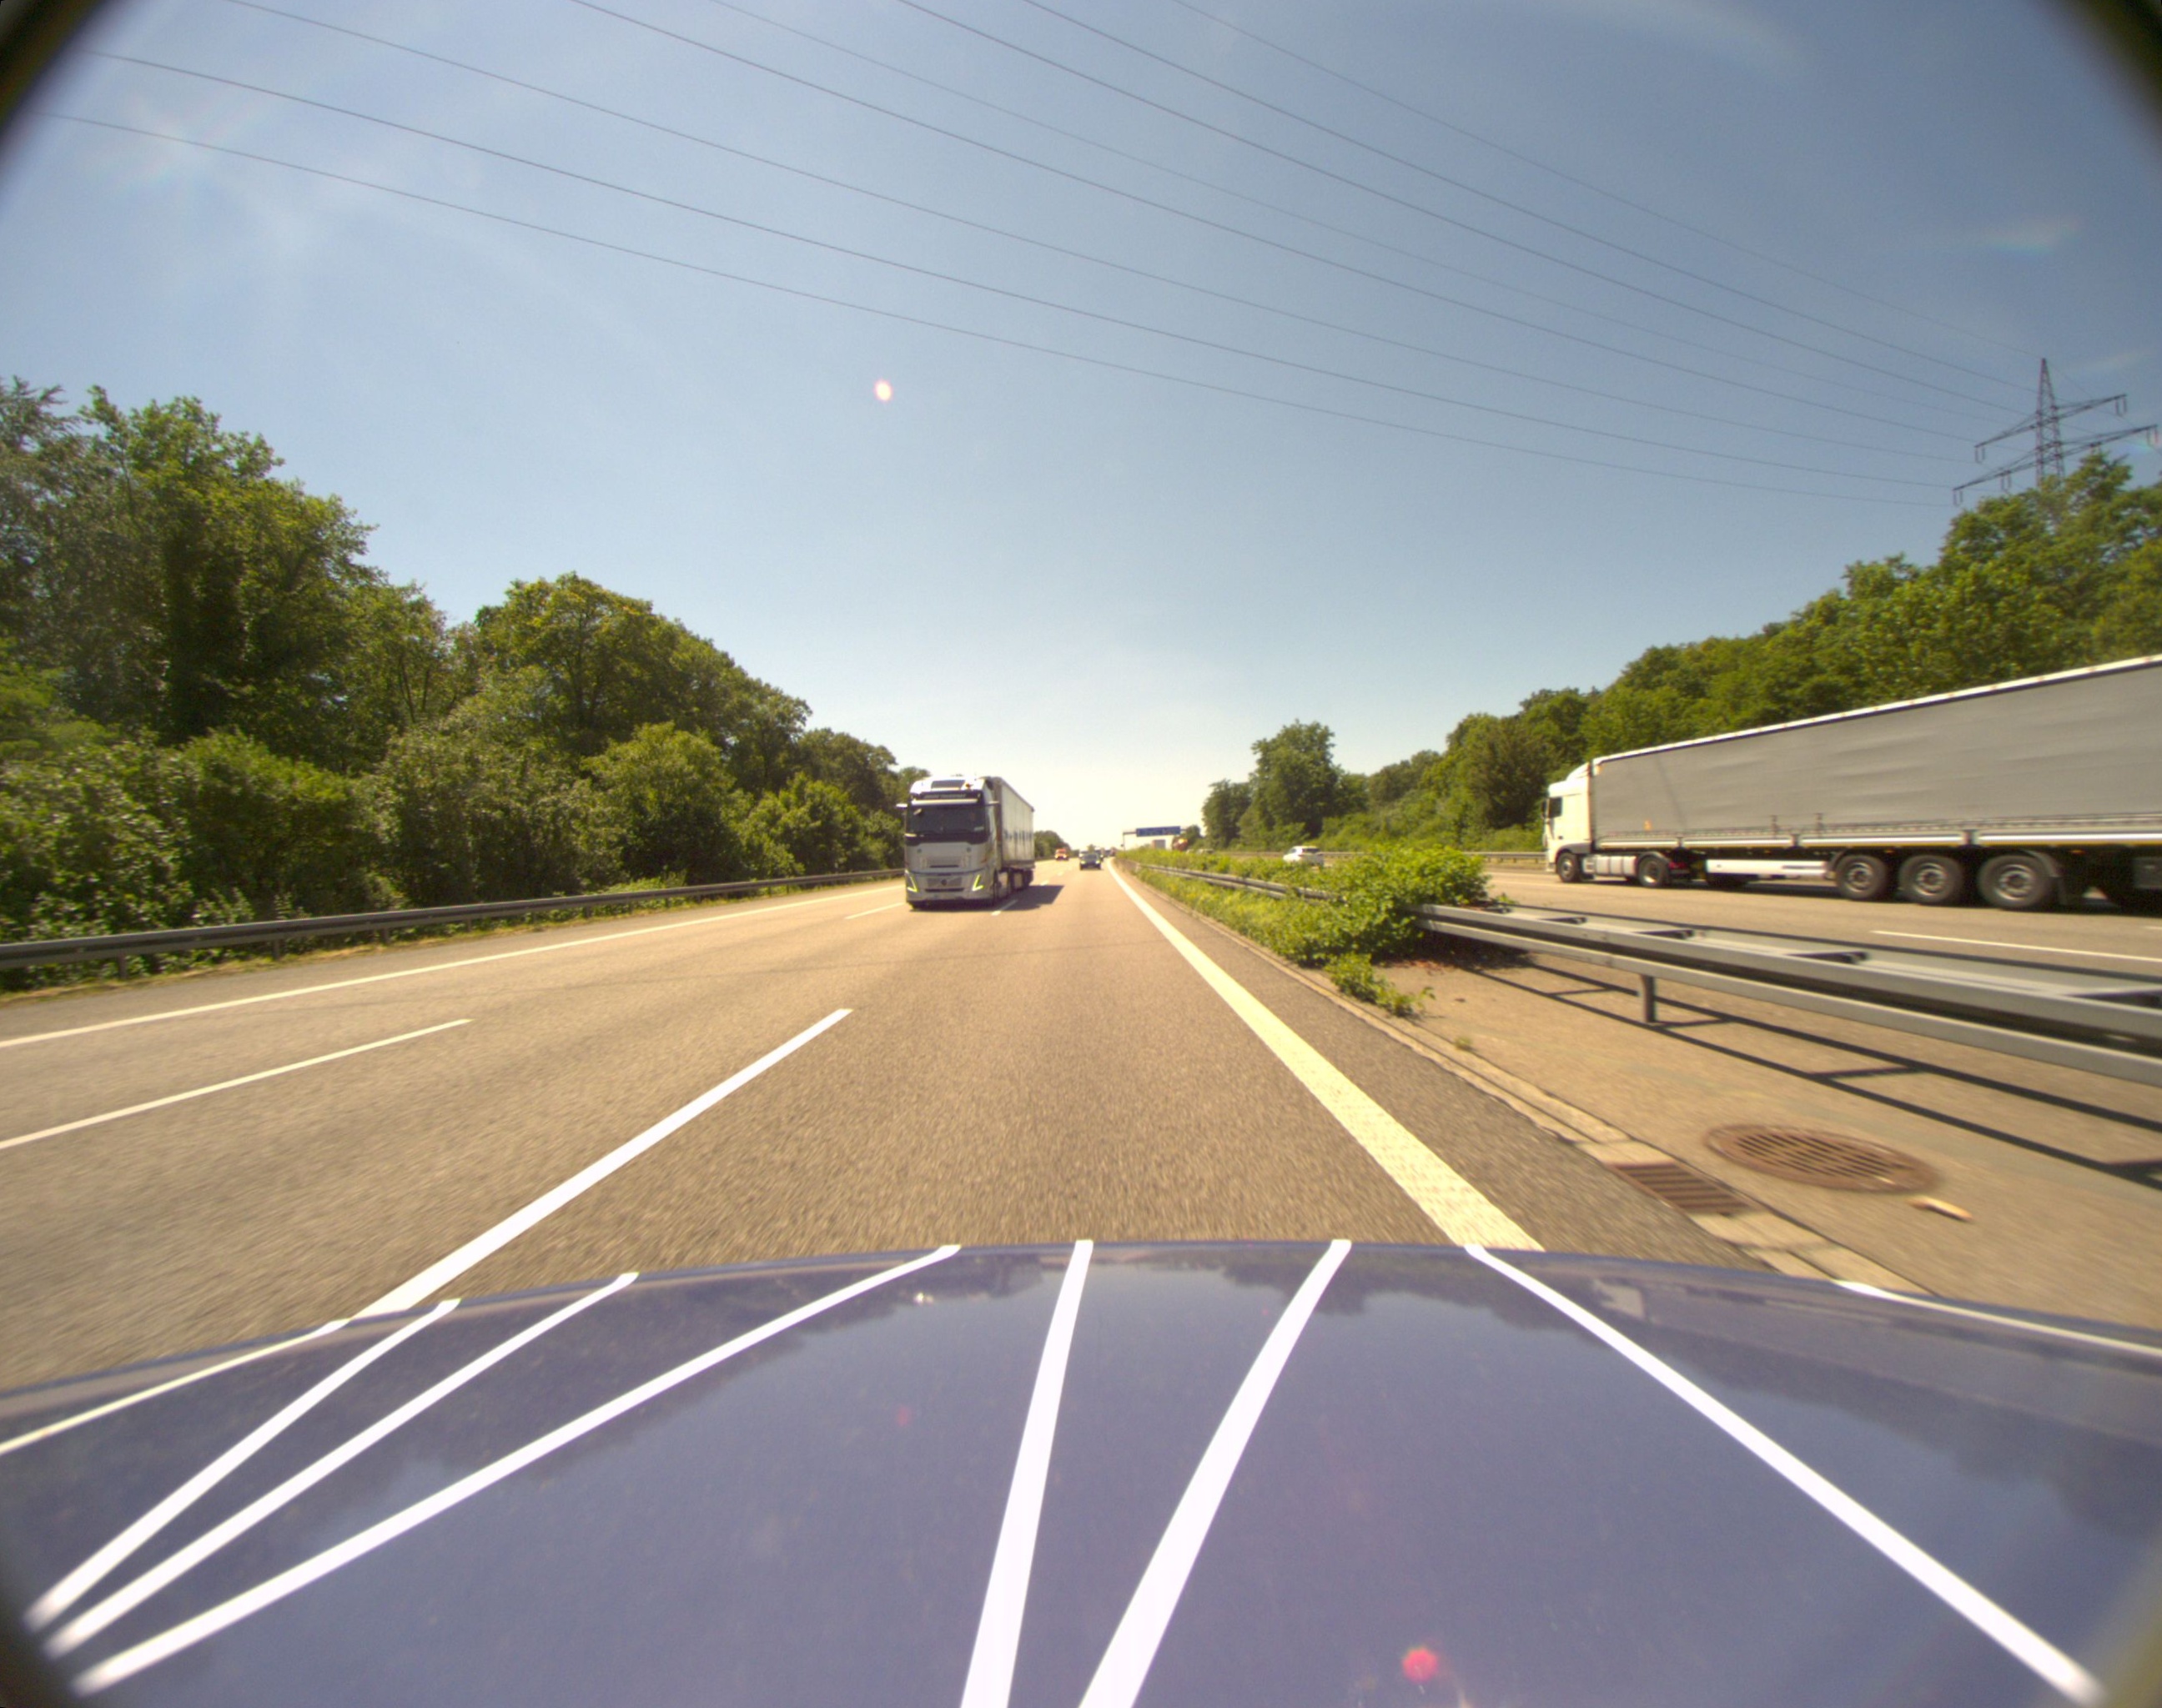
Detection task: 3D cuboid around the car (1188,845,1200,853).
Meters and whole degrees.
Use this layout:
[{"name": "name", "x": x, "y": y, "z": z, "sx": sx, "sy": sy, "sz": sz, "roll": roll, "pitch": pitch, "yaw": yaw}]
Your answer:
[{"name": "car", "x": 22.169, "y": -0.977, "z": 148.936, "sx": 1.725, "sy": 1.471, "sz": 4.000, "roll": -2, "pitch": 1, "yaw": 1}]

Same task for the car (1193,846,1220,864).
[{"name": "car", "x": 10.340, "y": 0.067, "z": 62.886, "sx": 1.669, "sy": 1.445, "sz": 4.124, "roll": -2, "pitch": 0, "yaw": 2}]

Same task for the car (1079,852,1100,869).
[{"name": "car", "x": 0.776, "y": 0.586, "z": 69.112, "sx": 1.800, "sy": 1.390, "sz": 4.833, "roll": -2, "pitch": 0, "yaw": 0}]

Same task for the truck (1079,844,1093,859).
[{"name": "truck", "x": 1.173, "y": -0.617, "z": 174.919, "sx": 2.859, "sy": 3.163, "sz": 10.712, "roll": -2, "pitch": 0, "yaw": 2}]

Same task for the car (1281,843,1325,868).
[{"name": "car", "x": 14.047, "y": 0.088, "z": 48.302, "sx": 1.669, "sy": 1.445, "sz": 4.124, "roll": -2, "pitch": 0, "yaw": 2}]

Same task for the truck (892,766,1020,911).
[{"name": "truck", "x": -3.742, "y": -0.455, "z": 24.347, "sx": 2.729, "sy": 3.952, "sz": 6.501, "roll": -2, "pitch": 1, "yaw": 1}]

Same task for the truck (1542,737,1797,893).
[{"name": "truck", "x": 17.309, "y": -1.031, "z": 23.050, "sx": 2.667, "sy": 3.962, "sz": 6.553, "roll": -2, "pitch": 1, "yaw": 1}]

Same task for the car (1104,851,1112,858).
[{"name": "car", "x": 7.112, "y": 0.078, "z": 200.805, "sx": 1.879, "sy": 1.630, "sz": 4.000, "roll": -2, "pitch": 0, "yaw": 1}]

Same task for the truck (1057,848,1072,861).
[{"name": "truck", "x": -3.326, "y": -0.009, "z": 155.398, "sx": 2.436, "sy": 2.426, "sz": 10.010, "roll": -2, "pitch": 0, "yaw": 2}]

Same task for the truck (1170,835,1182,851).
[{"name": "truck", "x": 21.902, "y": -2.624, "z": 175.282, "sx": 2.362, "sy": 3.581, "sz": 4.164, "roll": -2, "pitch": 1, "yaw": 1}]

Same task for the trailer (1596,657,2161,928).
[{"name": "trailer", "x": 17.204, "y": -0.977, "z": 16.673, "sx": 2.677, "sy": 3.943, "sz": 13.662, "roll": -2, "pitch": 0, "yaw": 1}]

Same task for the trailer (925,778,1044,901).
[{"name": "trailer", "x": -3.512, "y": -0.520, "z": 31.815, "sx": 2.747, "sy": 3.952, "sz": 13.654, "roll": -2, "pitch": 0, "yaw": 1}]

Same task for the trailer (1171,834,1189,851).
[{"name": "trailer", "x": 21.737, "y": -2.565, "z": 168.124, "sx": 2.377, "sy": 3.575, "sz": 14.220, "roll": -2, "pitch": 0, "yaw": 2}]

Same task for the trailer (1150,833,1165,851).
[{"name": "trailer", "x": 18.006, "y": -2.834, "z": 179.890, "sx": 2.471, "sy": 3.913, "sz": 14.400, "roll": -2, "pitch": 0, "yaw": 1}]
